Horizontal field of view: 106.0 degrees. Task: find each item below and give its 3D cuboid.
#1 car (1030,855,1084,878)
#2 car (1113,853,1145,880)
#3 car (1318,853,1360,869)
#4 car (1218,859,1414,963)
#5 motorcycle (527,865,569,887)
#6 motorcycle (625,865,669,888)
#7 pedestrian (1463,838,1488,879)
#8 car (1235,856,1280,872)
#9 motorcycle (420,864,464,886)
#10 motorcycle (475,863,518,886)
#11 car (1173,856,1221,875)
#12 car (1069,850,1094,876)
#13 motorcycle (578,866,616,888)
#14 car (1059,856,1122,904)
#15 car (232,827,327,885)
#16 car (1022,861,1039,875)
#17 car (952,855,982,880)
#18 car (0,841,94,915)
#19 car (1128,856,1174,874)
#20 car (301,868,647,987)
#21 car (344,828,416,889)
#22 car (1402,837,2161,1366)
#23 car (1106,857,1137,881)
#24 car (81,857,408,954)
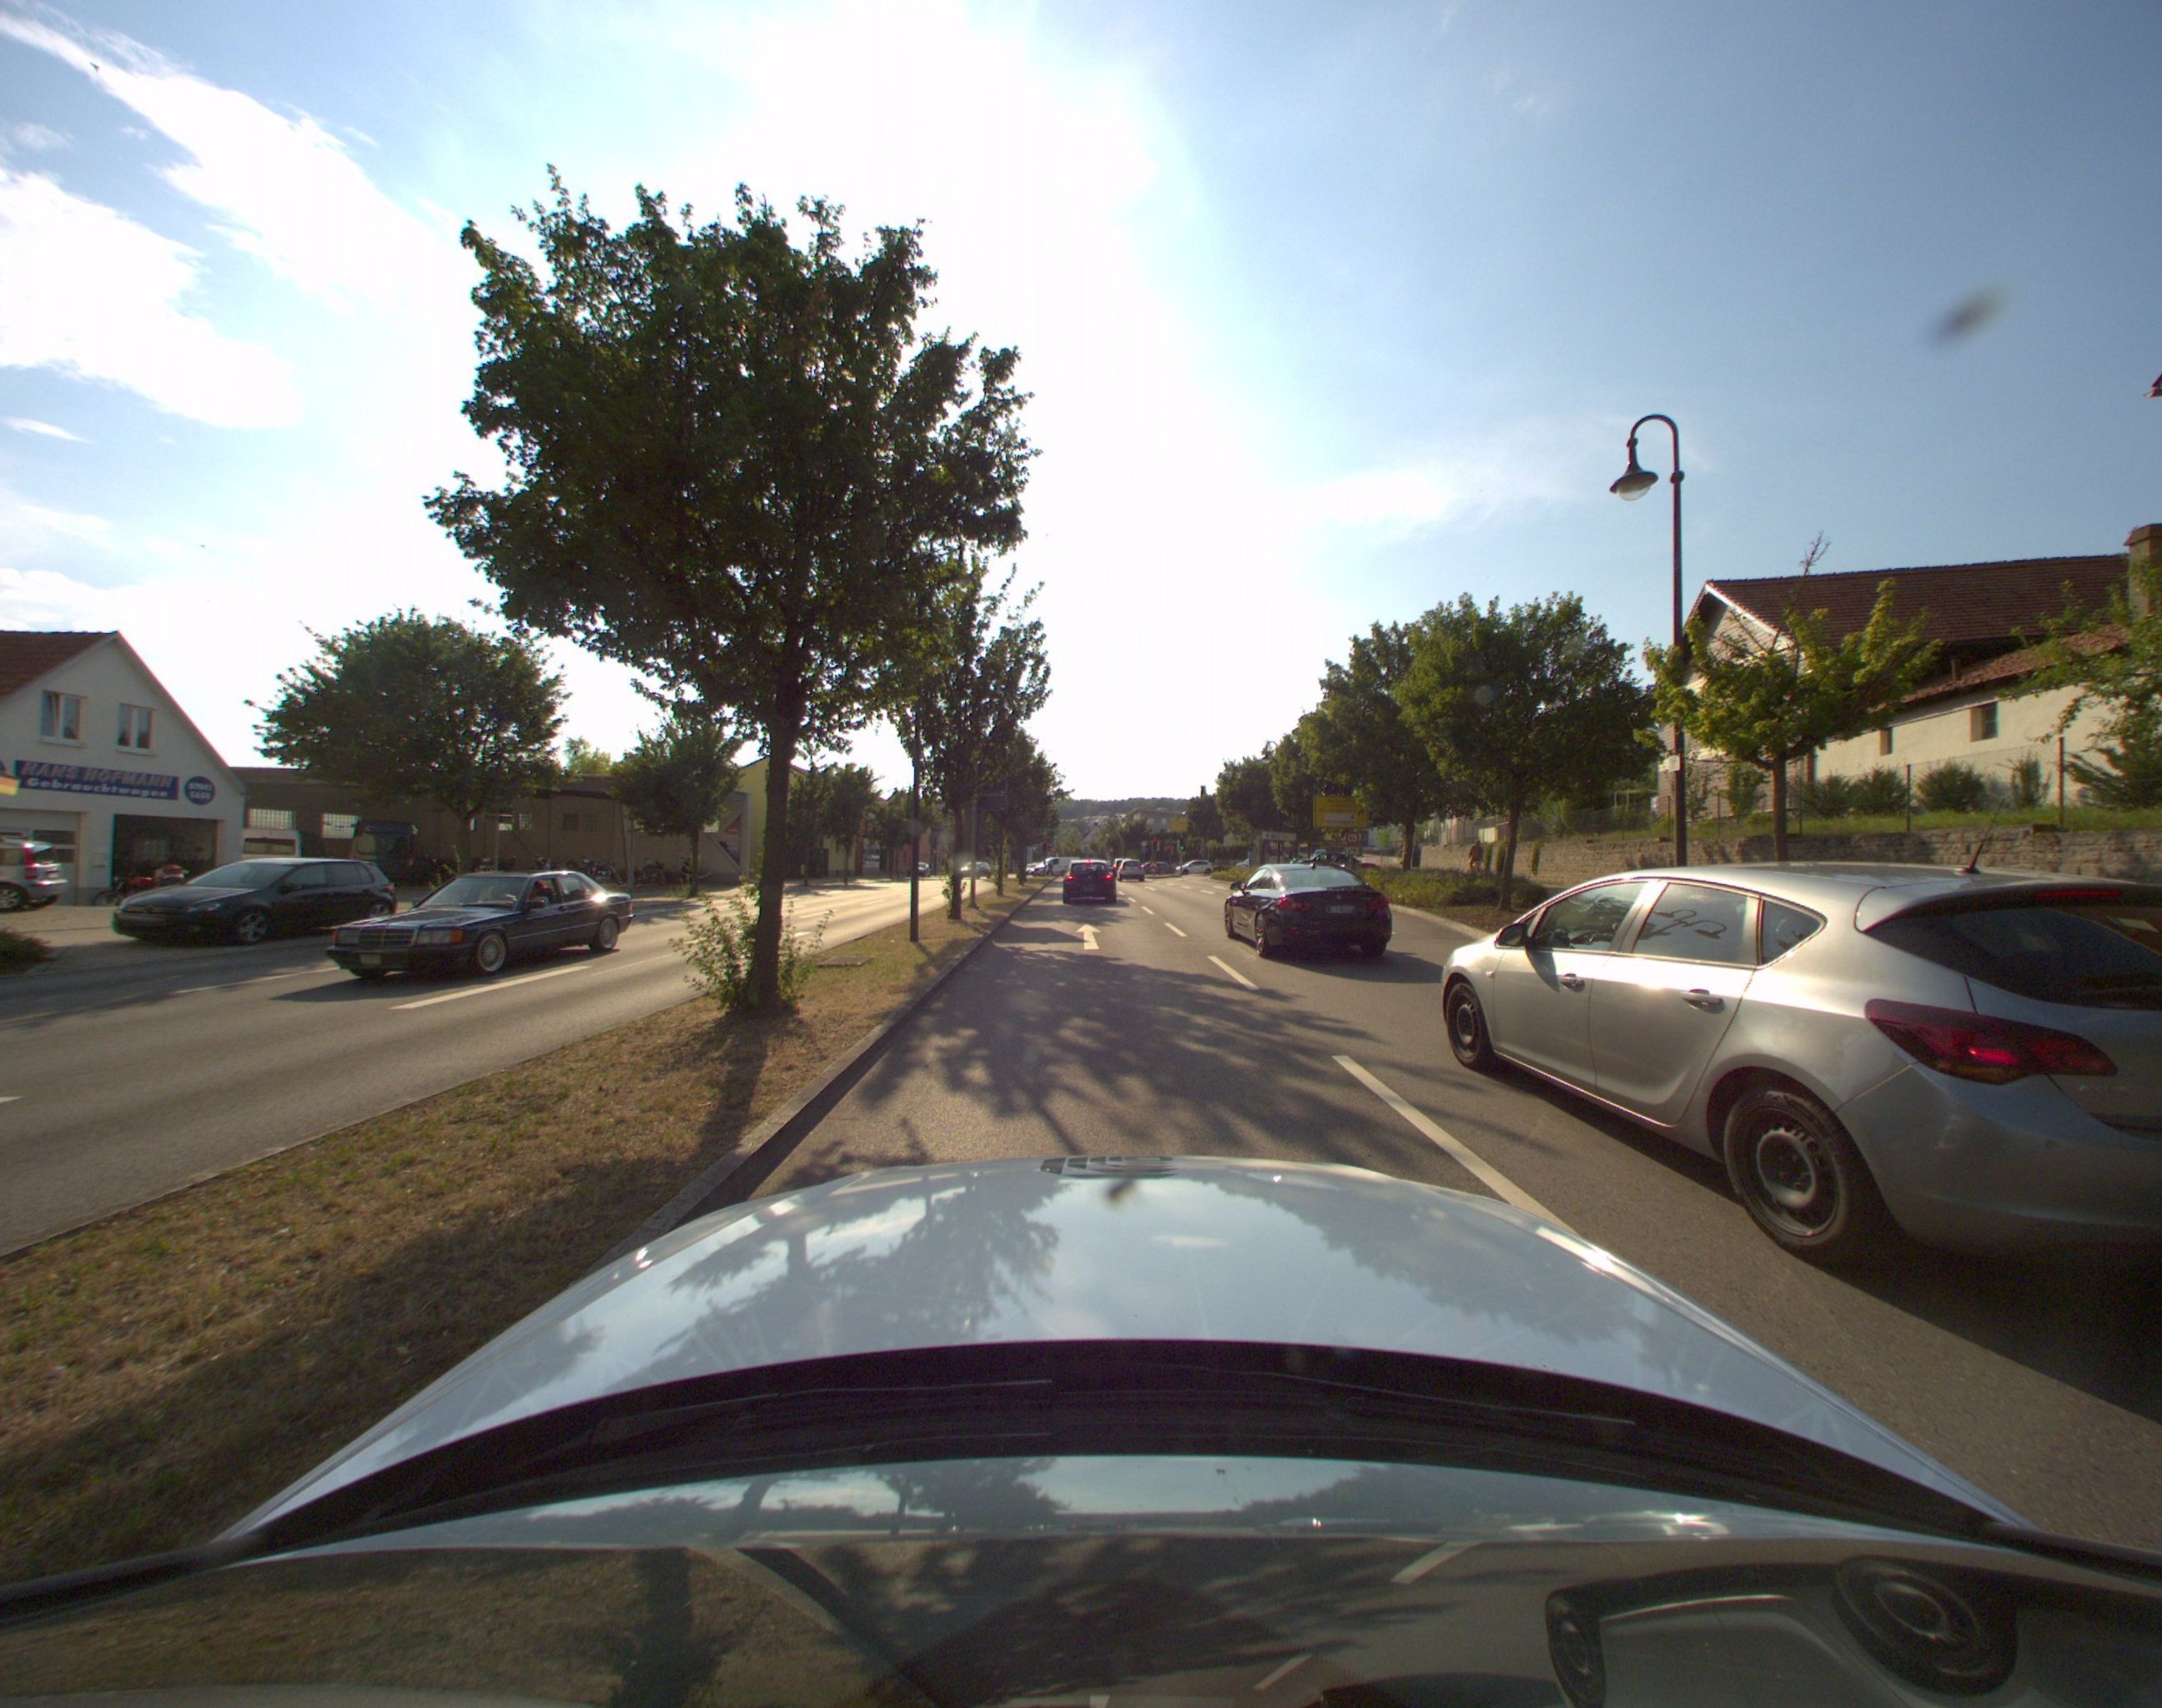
[{"bbox_3d":[-2.374,1.211,81.672,5.146,2.130,2.123,-1,0,-35],"label":"car"},{"bbox_3d":[3.273,0.818,56.195,1.919,1.769,4.452,-1,0,-1],"label":"car"},{"bbox_3d":[32.360,0.860,102.250,4.621,1.829,1.998,-1,0,-4],"label":"car"},{"bbox_3d":[3.545,0.783,13.164,1.914,1.364,4.352,-1,0,0],"label":"car"},{"bbox_3d":[-26.327,1.070,40.235,0.510,1.069,1.647,-1,0,31],"label":"motorcycle"},{"bbox_3d":[-21.403,1.101,40.152,0.510,1.069,1.882,-1,0,35],"label":"motorcycle"},{"bbox_3d":[16.787,0.176,34.669,0.692,1.703,0.952,-1,0,8],"label":"pedestrian"},{"bbox_3d":[20.103,1.119,92.967,4.621,1.829,1.998,-1,0,-4],"label":"car"},{"bbox_3d":[-31.371,1.023,40.008,0.510,1.069,1.647,-1,0,31],"label":"motorcycle"},{"bbox_3d":[-28.780,1.014,40.140,0.510,1.107,1.647,-1,0,31],"label":"motorcycle"},{"bbox_3d":[12.189,1.217,85.771,4.538,1.929,2.138,-1,0,-12],"label":"car"},{"bbox_3d":[0.018,0.626,59.255,1.751,1.769,3.969,-1,0,-1],"label":"car"},{"bbox_3d":[-23.767,1.121,40.032,0.510,1.005,1.552,-1,0,30],"label":"motorcycle"},{"bbox_3d":[0.418,0.835,28.037,1.712,1.490,4.361,0,0,6],"label":"car"},{"bbox_3d":[-33.422,0.042,34.096,2.051,2.150,4.274,4,0,-35],"label":"car"},{"bbox_3d":[-6.149,1.688,100.075,1.724,1.679,4.001,-1,0,1],"label":"car"},{"bbox_3d":[-9.774,1.120,70.093,2.135,2.008,5.119,0,0,-3],"label":"car"},{"bbox_3d":[-24.058,0.451,17.194,3.696,1.477,1.804,4,0,-37],"label":"car"},{"bbox_3d":[7.795,1.233,91.105,4.930,1.929,2.147,-1,0,1],"label":"car"},{"bbox_3d":[-8.619,0.941,12.198,1.750,1.361,4.485,-1,0,1],"label":"car"},{"bbox_3d":[-29.888,0.139,34.851,2.052,2.336,4.271,4,0,-39],"label":"car"},{"bbox_3d":[3.435,0.684,4.476,1.715,1.490,4.307,-1,0,1],"label":"car"},{"bbox_3d":[3.214,1.175,65.313,2.210,1.769,4.452,-1,0,-1],"label":"car"},{"bbox_3d":[-15.212,0.833,15.218,1.750,1.454,4.131,4,0,0],"label":"car"}]
